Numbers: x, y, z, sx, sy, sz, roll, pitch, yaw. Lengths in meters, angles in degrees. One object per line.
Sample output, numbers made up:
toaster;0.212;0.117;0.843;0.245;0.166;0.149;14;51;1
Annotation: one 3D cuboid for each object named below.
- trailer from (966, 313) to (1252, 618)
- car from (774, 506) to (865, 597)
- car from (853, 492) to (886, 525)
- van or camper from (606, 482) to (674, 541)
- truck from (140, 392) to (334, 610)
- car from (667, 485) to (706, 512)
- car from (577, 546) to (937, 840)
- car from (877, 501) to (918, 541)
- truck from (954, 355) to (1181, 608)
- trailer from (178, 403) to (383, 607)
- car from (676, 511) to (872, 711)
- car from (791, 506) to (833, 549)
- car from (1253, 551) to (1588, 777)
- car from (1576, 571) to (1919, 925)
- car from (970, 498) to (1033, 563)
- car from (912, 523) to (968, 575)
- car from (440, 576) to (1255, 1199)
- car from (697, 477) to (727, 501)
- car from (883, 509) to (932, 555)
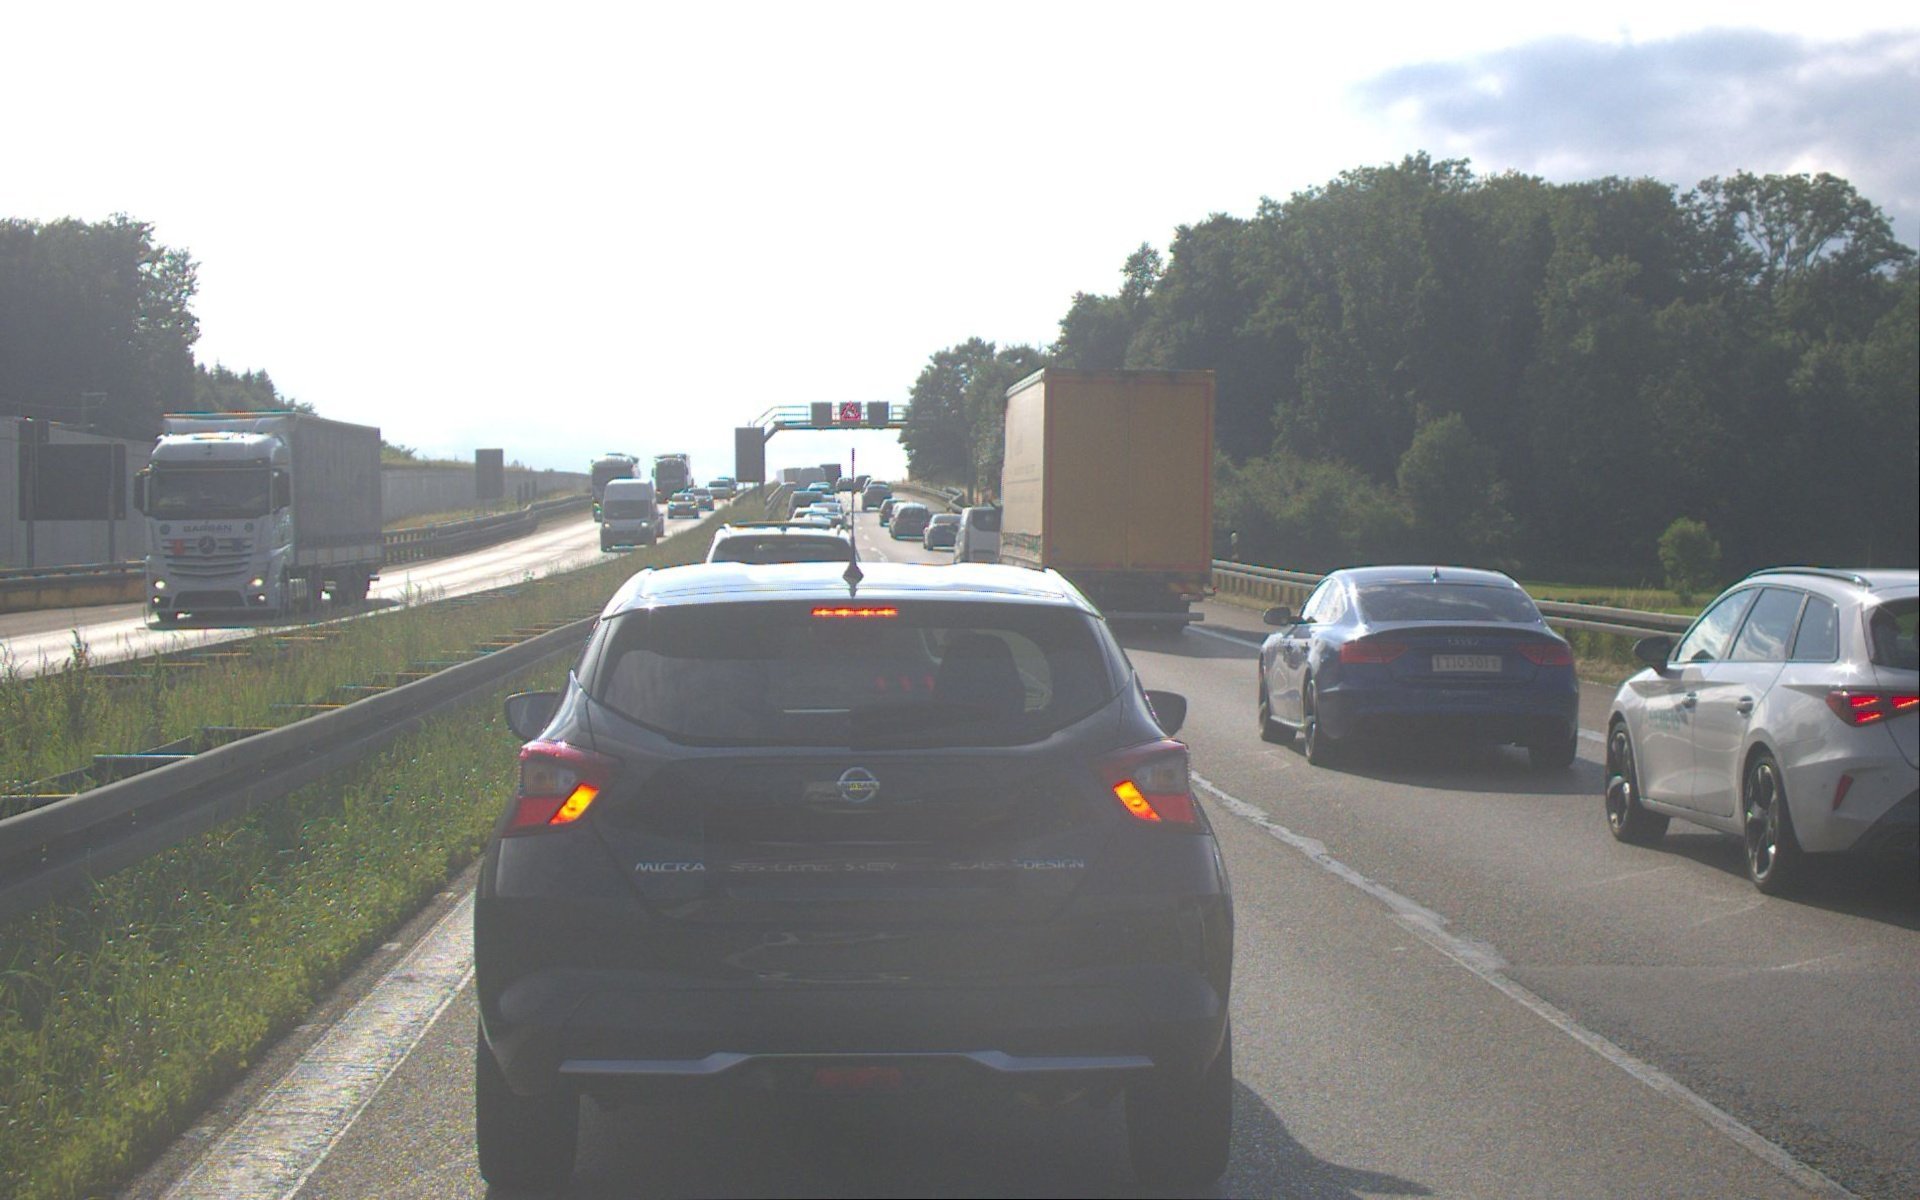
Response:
trailer;2.217;-2.053;57.073;3.548;4.442;12.723;1;1;-3
car;-3.245;-1.096;78.867;1.993;2.007;4.001;1;1;-3
car;-5.724;-5.782;217.051;1.993;2.007;4.001;1;1;-3
van or camper;-12.747;-3.513;137.355;2.166;2.198;6.259;1;1;-1
truck;-14.306;-1.911;68.509;2.637;4.084;7.003;1;1;-3
car;-16.351;-6.069;205.706;1.993;1.481;4.398;1;1;-1
car;-0.992;0.423;17.937;1.674;1.362;3.596;1;0;-1
car;-3.269;-4.116;178.756;1.993;2.007;4.001;1;1;-3
truck;1.883;-2.102;63.448;3.581;4.364;6.689;1;1;-3
trailer;-14.738;-1.986;75.497;2.653;4.067;12.399;1;1;-3
car;-1.664;0.079;31.748;1.674;1.720;3.596;1;0;-1
car;-7.102;-3.459;164.703;1.993;2.007;4.001;1;1;-3
car;3.212;0.404;24.726;1.747;1.470;4.147;1;0;-1
car;4.203;0.595;16.149;1.620;1.440;4.147;1;0;-4
car;1.145;-1.917;95.826;1.667;1.748;3.327;1;1;-1
car;-0.804;-1.992;135.227;1.993;2.007;4.001;1;1;-3
car;-0.257;0.661;8.963;1.710;1.421;3.378;1;0;-1
car;-16.696;-7.475;231.552;1.803;1.511;4.691;1;1;-1
car;-2.349;-3.014;153.490;1.993;2.007;4.001;1;1;-3
